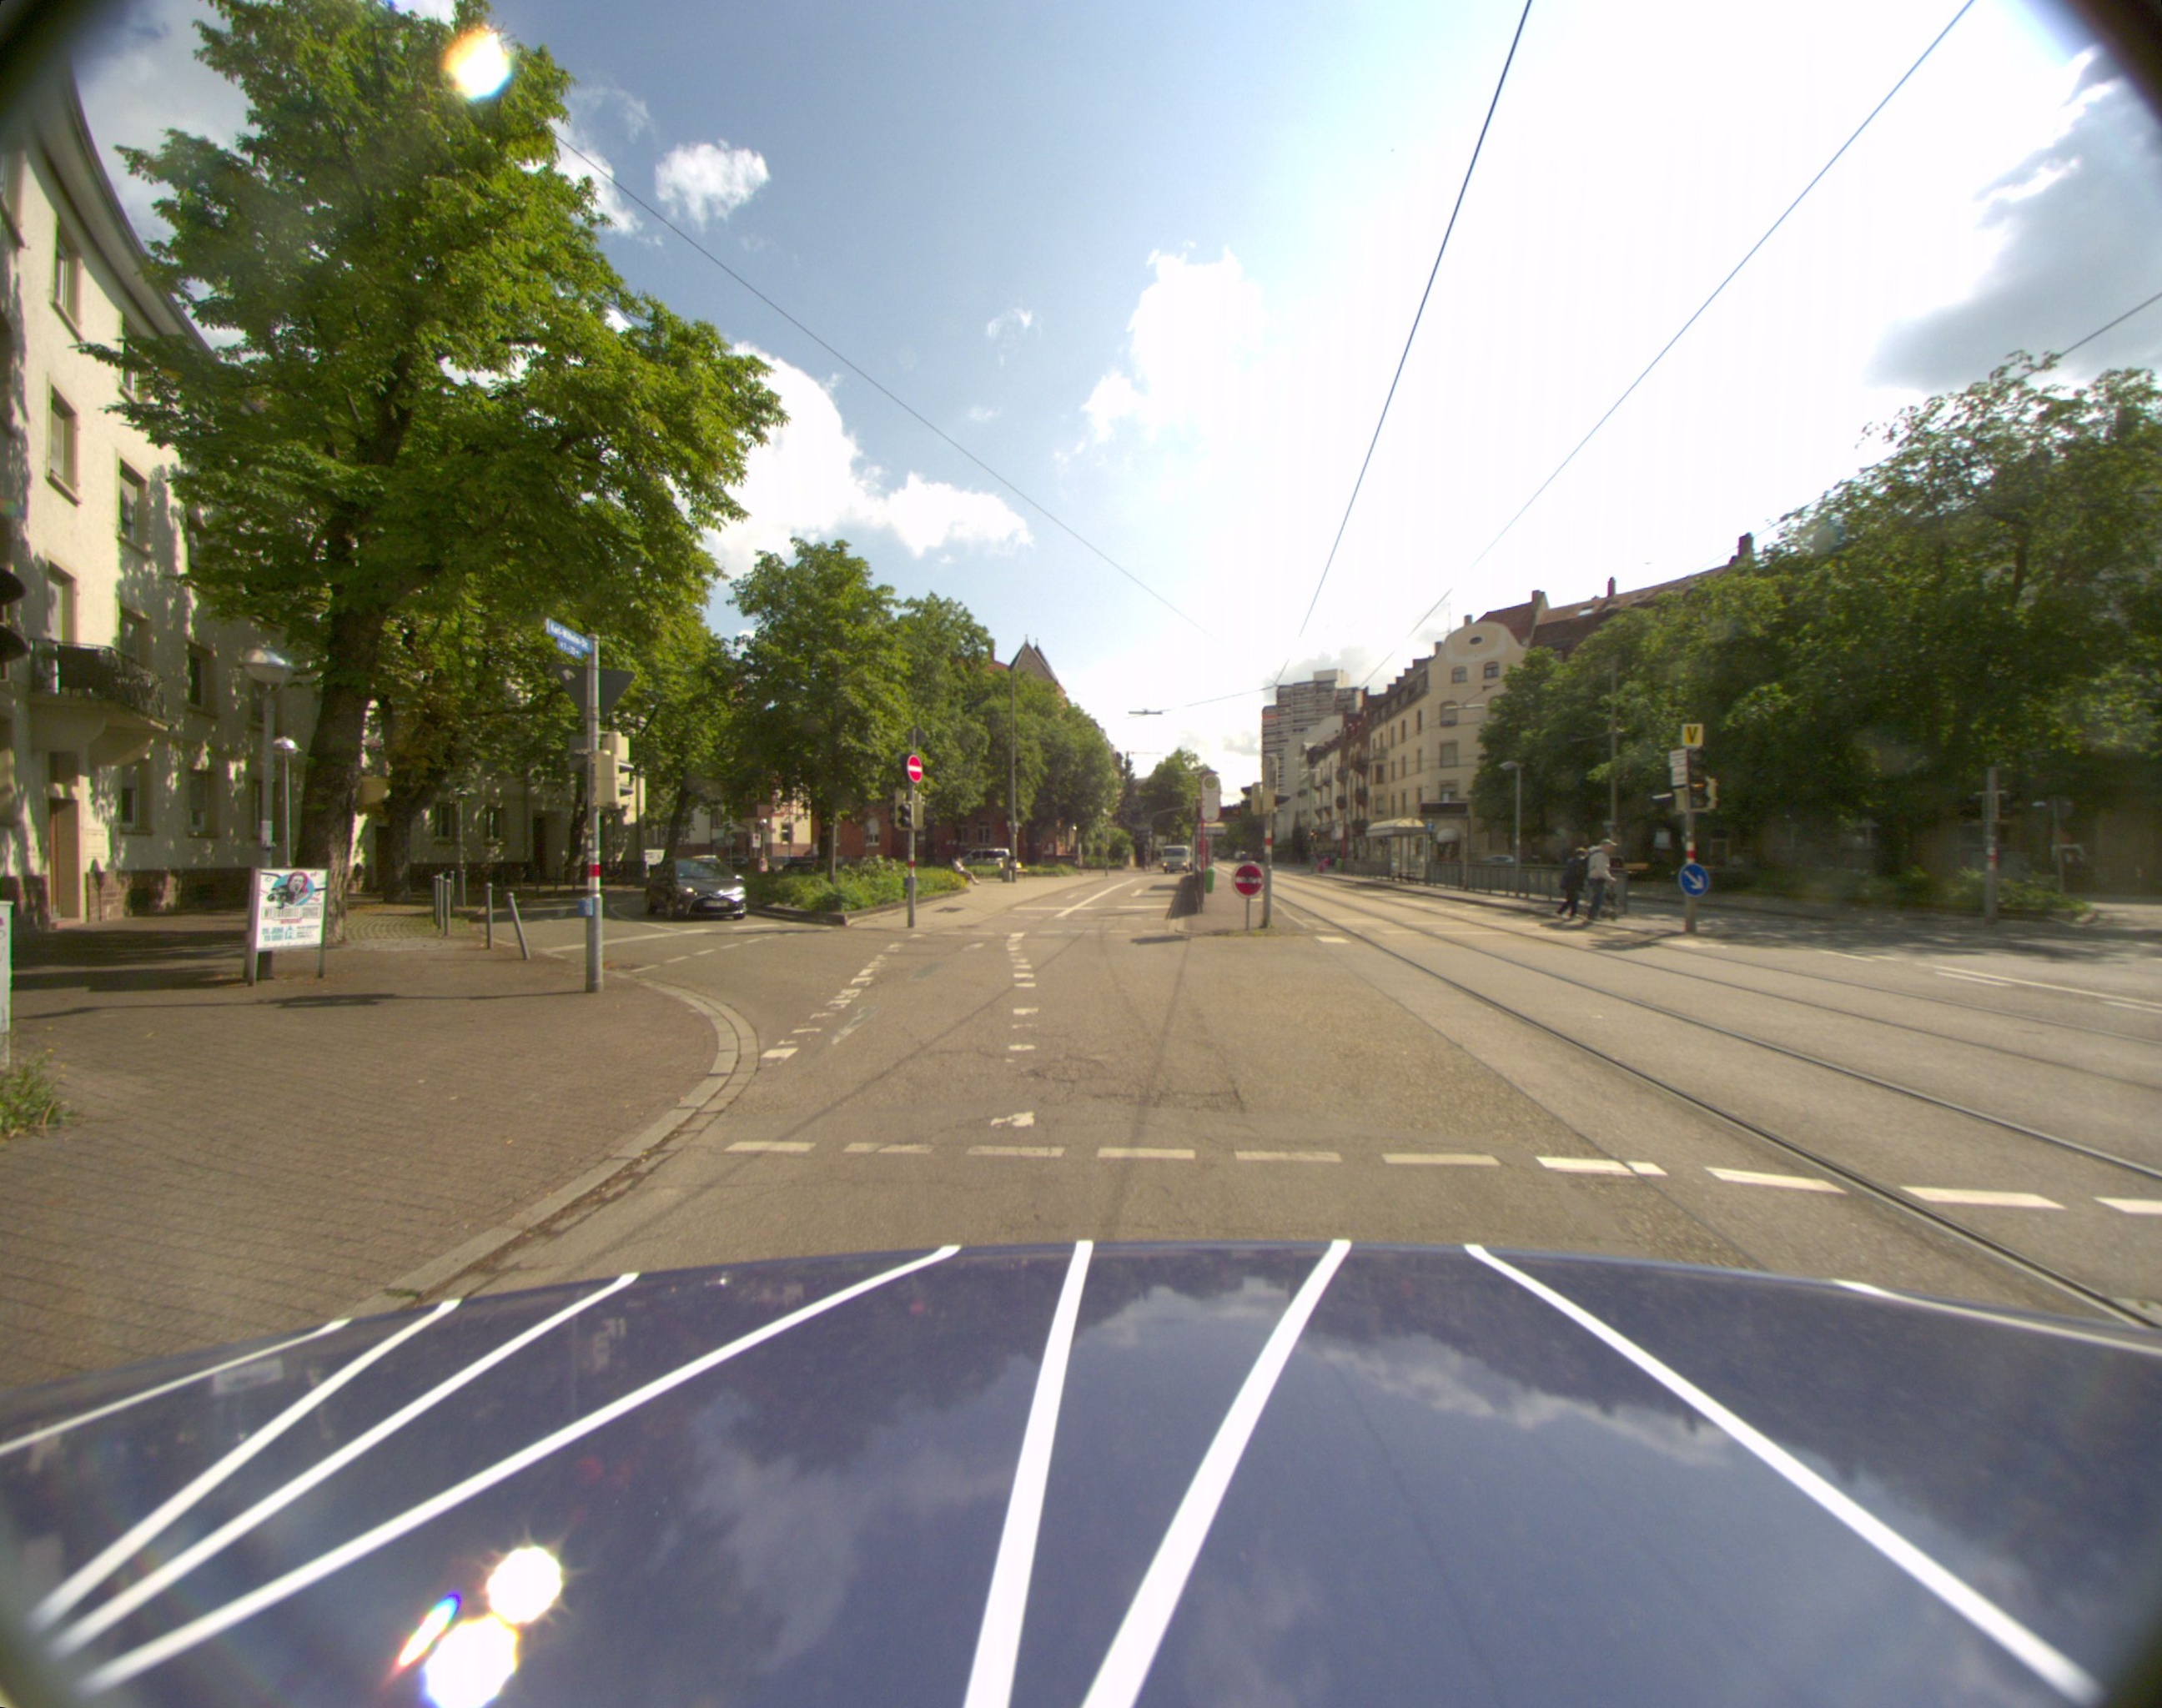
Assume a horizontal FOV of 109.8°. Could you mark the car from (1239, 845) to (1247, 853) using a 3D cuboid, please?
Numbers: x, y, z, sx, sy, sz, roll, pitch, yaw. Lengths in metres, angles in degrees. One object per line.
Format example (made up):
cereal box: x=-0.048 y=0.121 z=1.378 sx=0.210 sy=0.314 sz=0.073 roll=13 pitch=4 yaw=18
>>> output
car: x=45.800 y=-1.474 z=214.793 sx=1.840 sy=2.179 sz=3.894 roll=0 pitch=0 yaw=8

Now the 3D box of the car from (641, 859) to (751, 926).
car: x=-9.716 y=0.887 z=19.041 sx=1.633 sy=1.482 sz=3.720 roll=2 pitch=-1 yaw=-40

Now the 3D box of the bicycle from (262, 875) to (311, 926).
bicycle: x=-16.746 y=0.965 z=16.044 sx=0.302 sy=1.004 sz=1.472 roll=3 pitch=-1 yaw=-31

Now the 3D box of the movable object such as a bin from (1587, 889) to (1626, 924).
movable object such as a bin: x=11.139 y=1.101 z=16.121 sx=0.512 sy=0.713 sz=0.457 roll=0 pitch=0 yaw=-6

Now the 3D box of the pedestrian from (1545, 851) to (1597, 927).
pedestrian: x=10.333 y=0.721 z=16.033 sx=0.715 sy=1.565 sz=0.585 roll=0 pitch=1 yaw=-6

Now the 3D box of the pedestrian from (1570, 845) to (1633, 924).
pedestrian: x=10.506 y=0.600 z=15.346 sx=0.782 sy=1.565 sz=0.693 roll=0 pitch=1 yaw=-6

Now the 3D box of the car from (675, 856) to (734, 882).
car: x=-33.966 y=1.315 z=68.600 sx=5.219 sy=2.256 sz=2.288 roll=0 pitch=0 yaw=31

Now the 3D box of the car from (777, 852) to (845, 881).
car: x=-21.898 y=1.000 z=61.582 sx=5.220 sy=2.256 sz=2.288 roll=0 pitch=0 yaw=28

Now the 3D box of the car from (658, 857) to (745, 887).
car: x=-21.290 y=0.997 z=42.694 sx=3.996 sy=1.543 sz=1.651 roll=-2 pitch=1 yaw=3

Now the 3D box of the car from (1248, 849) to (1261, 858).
car: x=29.988 y=-0.050 z=131.375 sx=1.840 sy=1.482 sz=3.894 roll=0 pitch=0 yaw=8

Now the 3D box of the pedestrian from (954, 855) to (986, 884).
pedestrian: x=-4.789 y=0.661 z=32.820 sx=1.159 sy=1.195 sz=0.907 roll=3 pitch=0 yaw=1

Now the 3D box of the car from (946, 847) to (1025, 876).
car: x=-6.840 y=0.483 z=54.764 sx=5.299 sy=2.002 sz=2.277 roll=0 pitch=0 yaw=-40

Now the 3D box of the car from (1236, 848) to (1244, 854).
car: x=39.056 y=-0.634 z=186.842 sx=1.840 sy=1.482 sz=3.894 roll=0 pitch=0 yaw=8

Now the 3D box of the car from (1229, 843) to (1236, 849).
car: x=45.559 y=-2.272 z=228.938 sx=1.840 sy=1.799 sz=3.894 roll=0 pitch=0 yaw=8

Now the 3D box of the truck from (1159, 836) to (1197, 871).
truck: x=8.078 y=-0.049 z=62.729 sx=2.529 sy=2.722 sz=6.521 roll=0 pitch=0 yaw=12
